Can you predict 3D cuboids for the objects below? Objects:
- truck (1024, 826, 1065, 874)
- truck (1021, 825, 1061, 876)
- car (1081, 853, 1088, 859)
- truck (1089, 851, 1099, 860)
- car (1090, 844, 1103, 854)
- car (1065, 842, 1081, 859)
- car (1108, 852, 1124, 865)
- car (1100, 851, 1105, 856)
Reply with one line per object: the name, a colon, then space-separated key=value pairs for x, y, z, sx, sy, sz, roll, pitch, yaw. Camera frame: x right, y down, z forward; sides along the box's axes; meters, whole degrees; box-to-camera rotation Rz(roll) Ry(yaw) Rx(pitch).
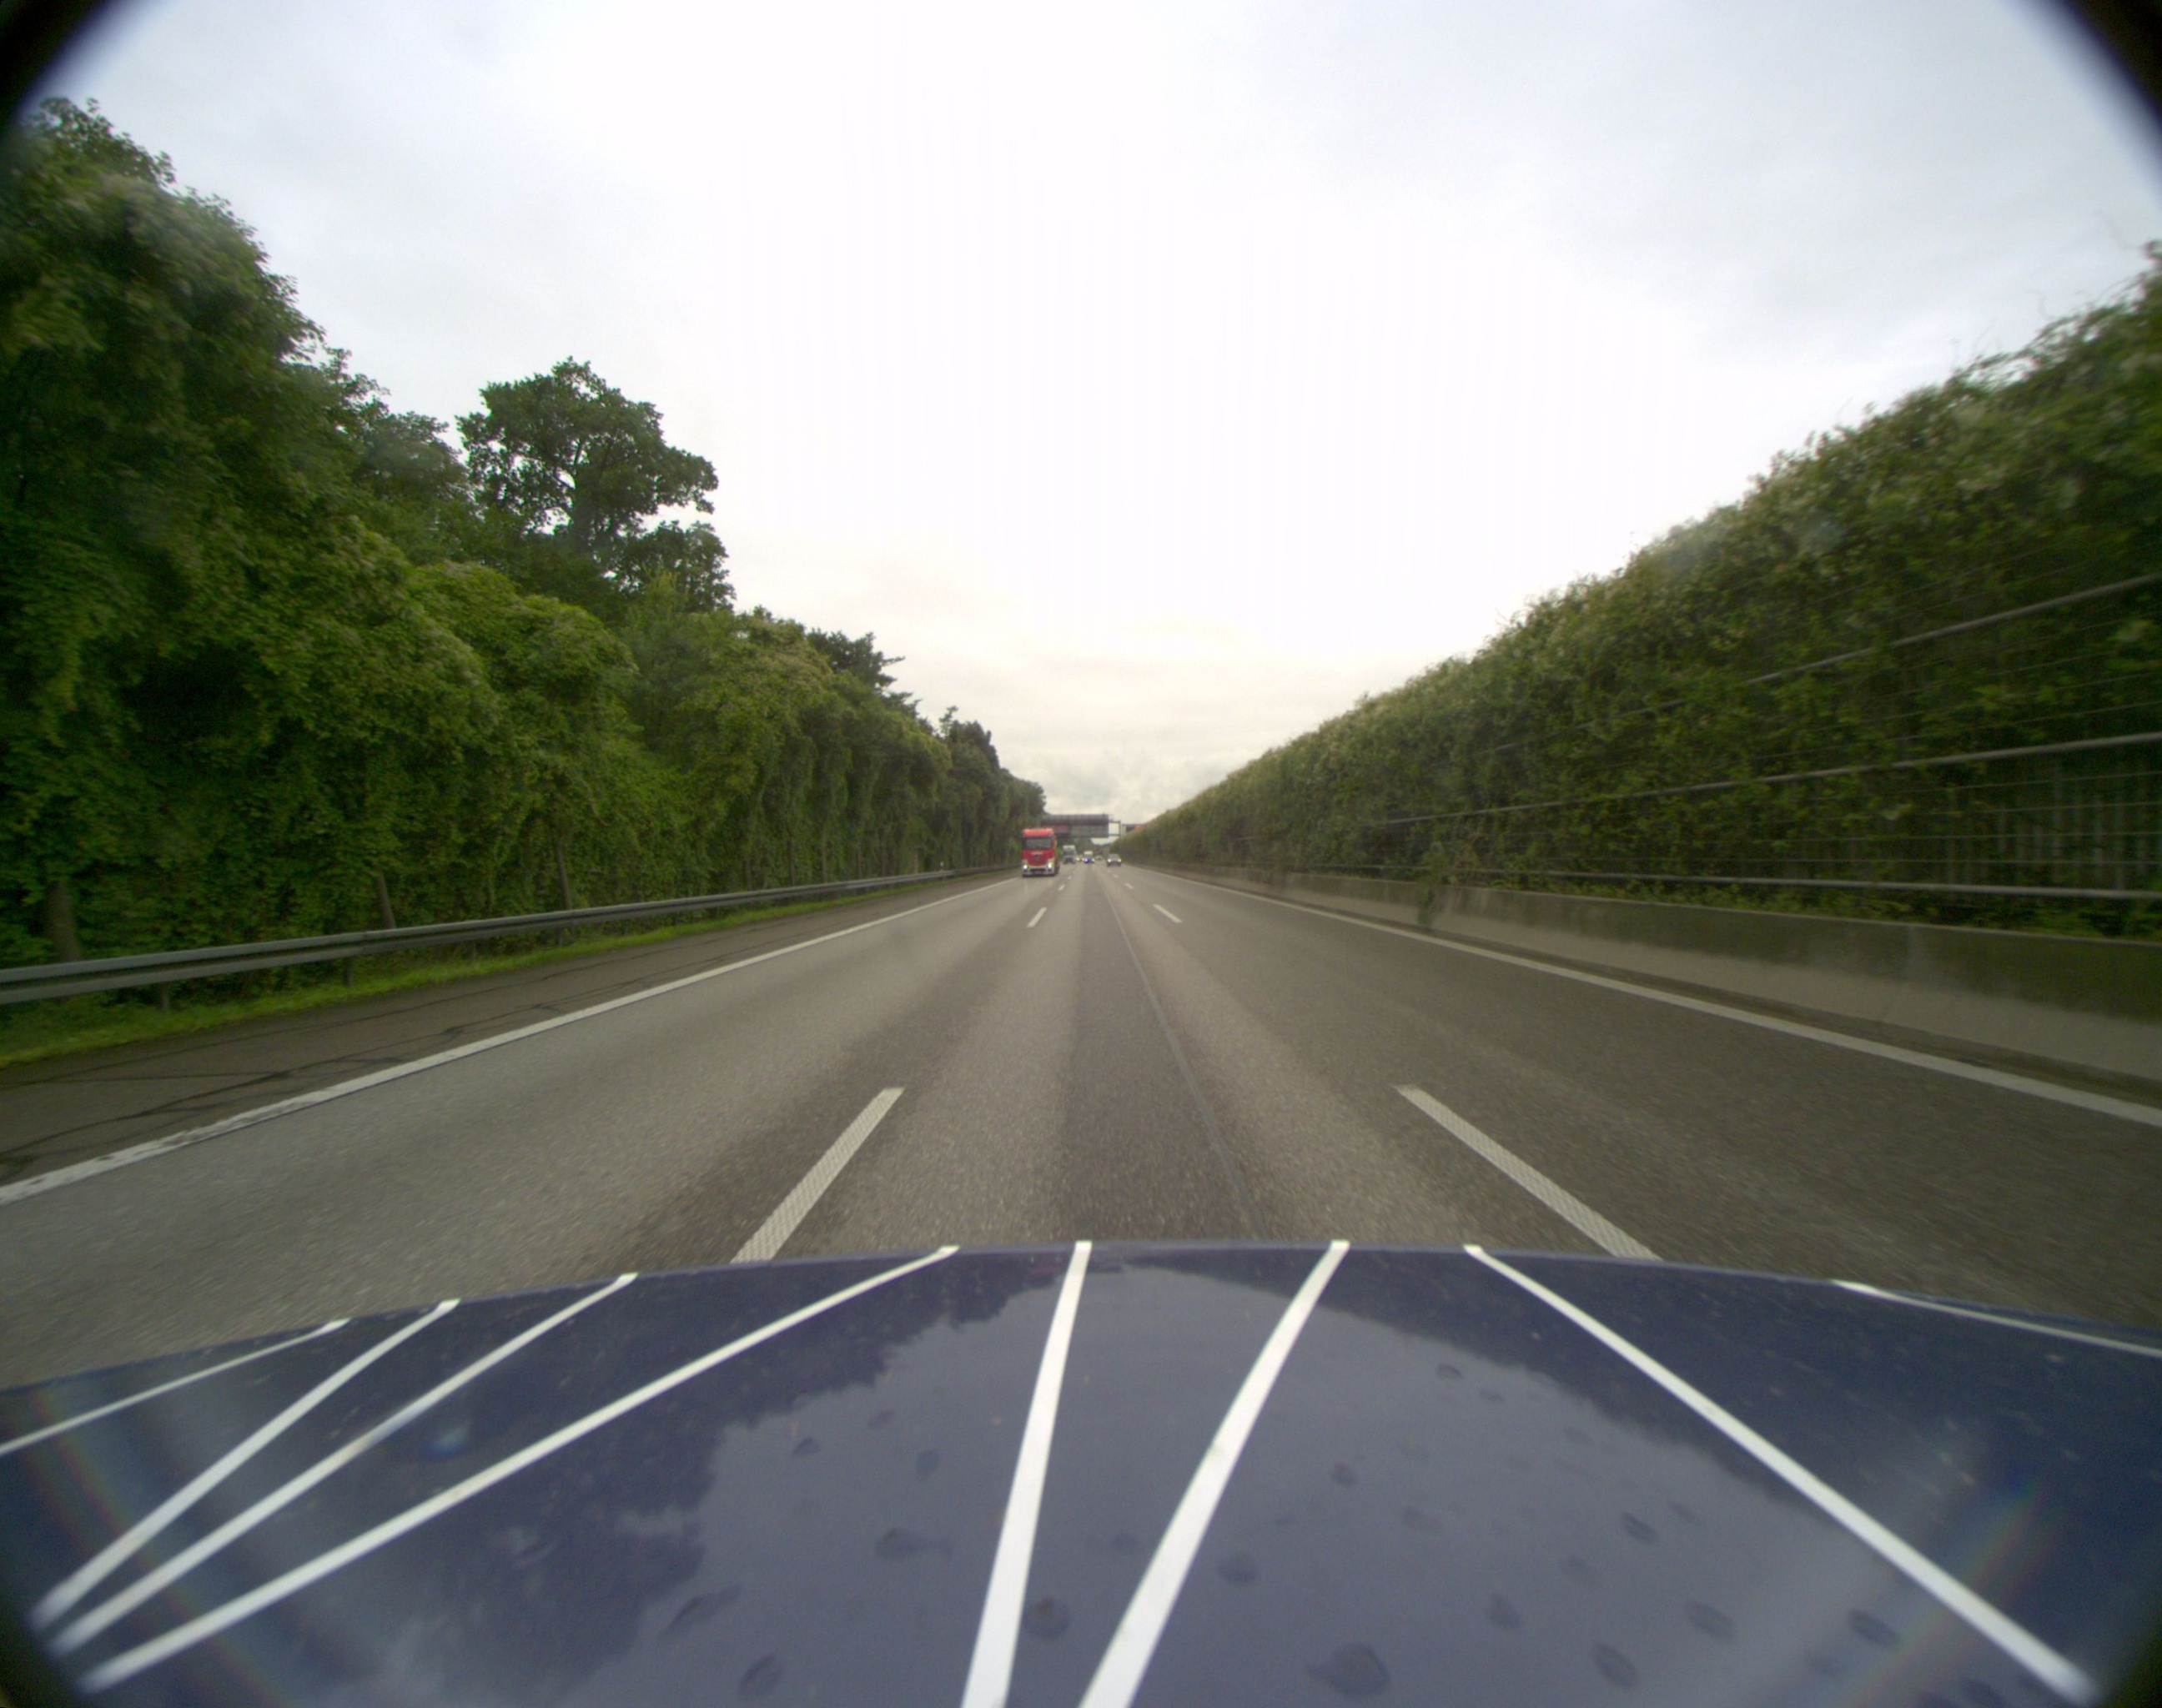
truck: x=-2.964 y=-0.443 z=64.400 sx=2.708 sy=3.690 sz=9.839 roll=-2 pitch=2 yaw=1
truck: x=-3.062 y=-0.307 z=59.639 sx=2.708 sy=3.809 sz=4.198 roll=-2 pitch=2 yaw=1
car: x=0.914 y=0.514 z=208.854 sx=1.751 sy=1.368 sz=4.000 roll=-1 pitch=0 yaw=1
truck: x=2.444 y=0.300 z=147.237 sx=1.825 sy=1.535 sz=3.998 roll=-3 pitch=2 yaw=-1
car: x=3.425 y=-1.123 z=170.903 sx=2.769 sy=2.227 sz=6.546 roll=-2 pitch=1 yaw=1
car: x=-1.694 y=-0.714 z=158.622 sx=3.039 sy=3.278 sz=6.733 roll=-2 pitch=1 yaw=1
car: x=4.813 y=0.559 z=105.054 sx=2.023 sy=1.595 sz=5.439 roll=-4 pitch=1 yaw=0
car: x=7.086 y=-0.125 z=250.747 sx=1.751 sy=1.368 sz=4.000 roll=-1 pitch=0 yaw=1
